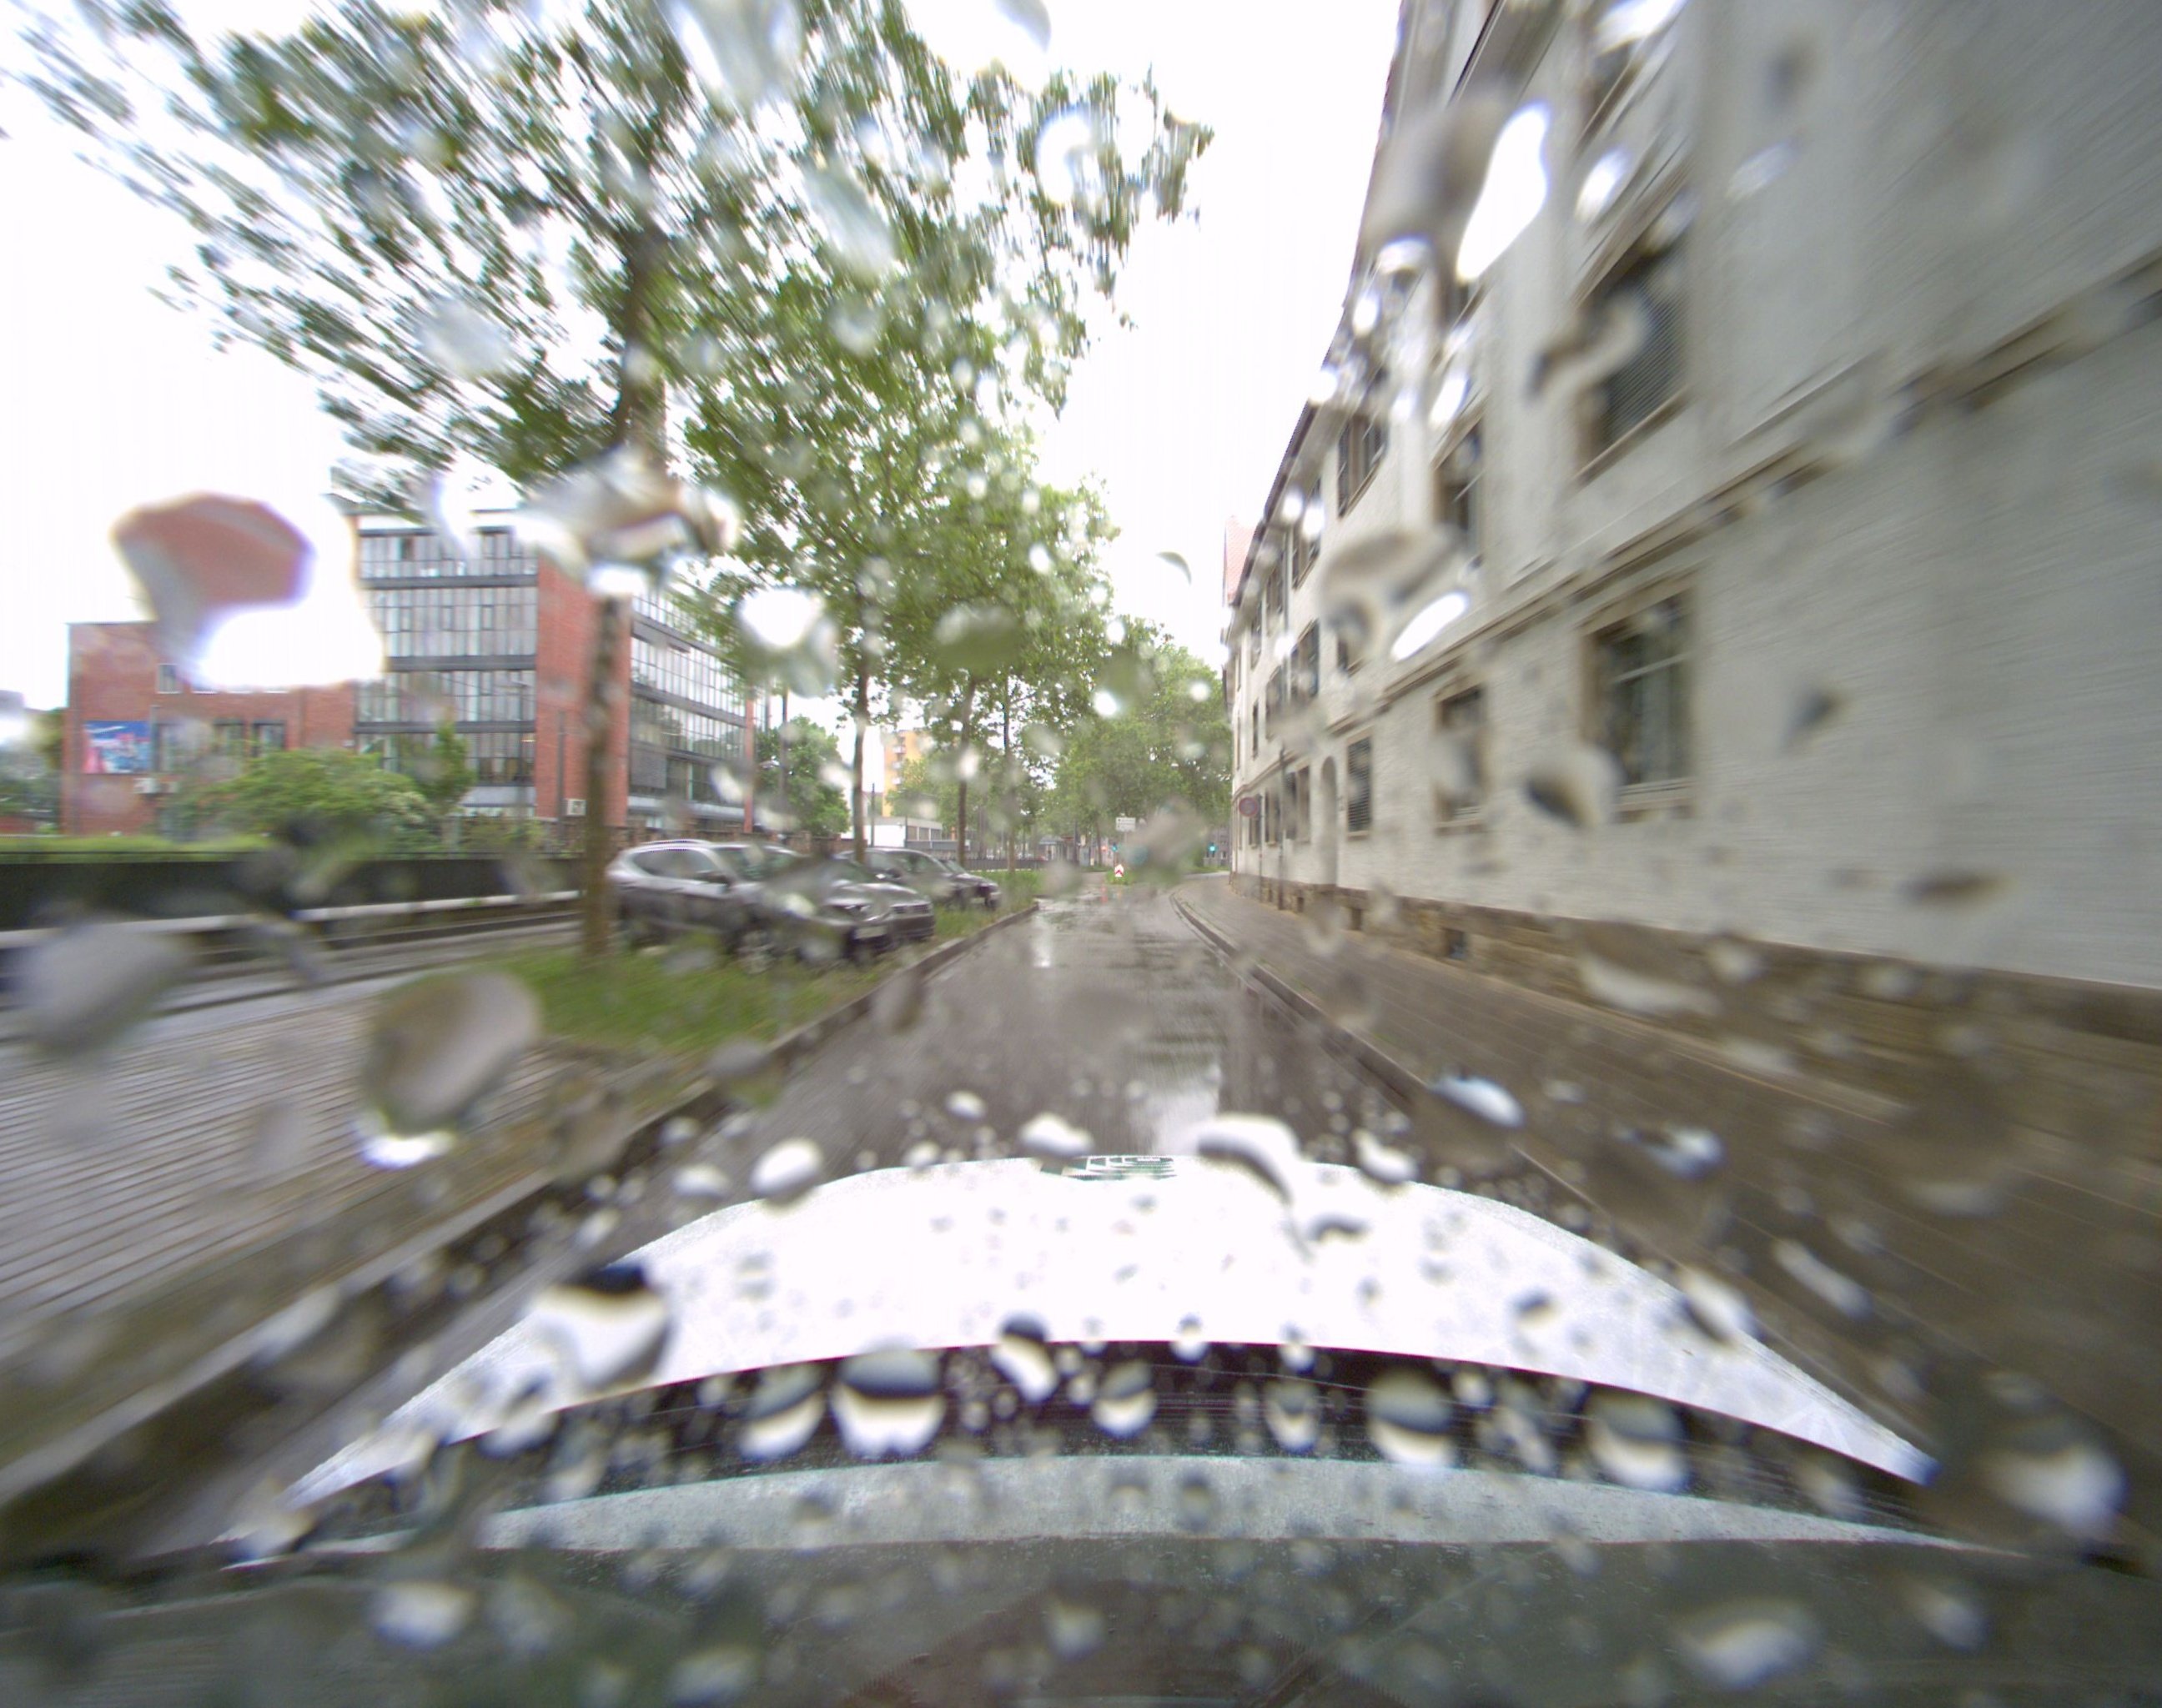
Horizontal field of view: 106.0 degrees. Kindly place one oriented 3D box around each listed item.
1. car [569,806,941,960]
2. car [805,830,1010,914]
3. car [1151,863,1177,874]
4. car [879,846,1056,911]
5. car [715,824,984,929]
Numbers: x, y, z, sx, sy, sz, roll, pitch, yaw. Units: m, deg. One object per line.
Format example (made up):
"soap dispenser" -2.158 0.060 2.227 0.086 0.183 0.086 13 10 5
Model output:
"car" -4.178 0.269 10.353 4.417 1.597 1.934 1 0 27
"car" -4.047 0.369 18.733 4.474 1.714 1.973 -1 1 32
"car" 13.940 2.386 136.615 4.020 1.597 1.976 4 -2 -41
"car" -3.010 0.592 21.308 4.308 1.512 1.973 -1 1 32
"car" -4.023 0.353 13.901 4.501 1.521 1.935 0 -1 33
